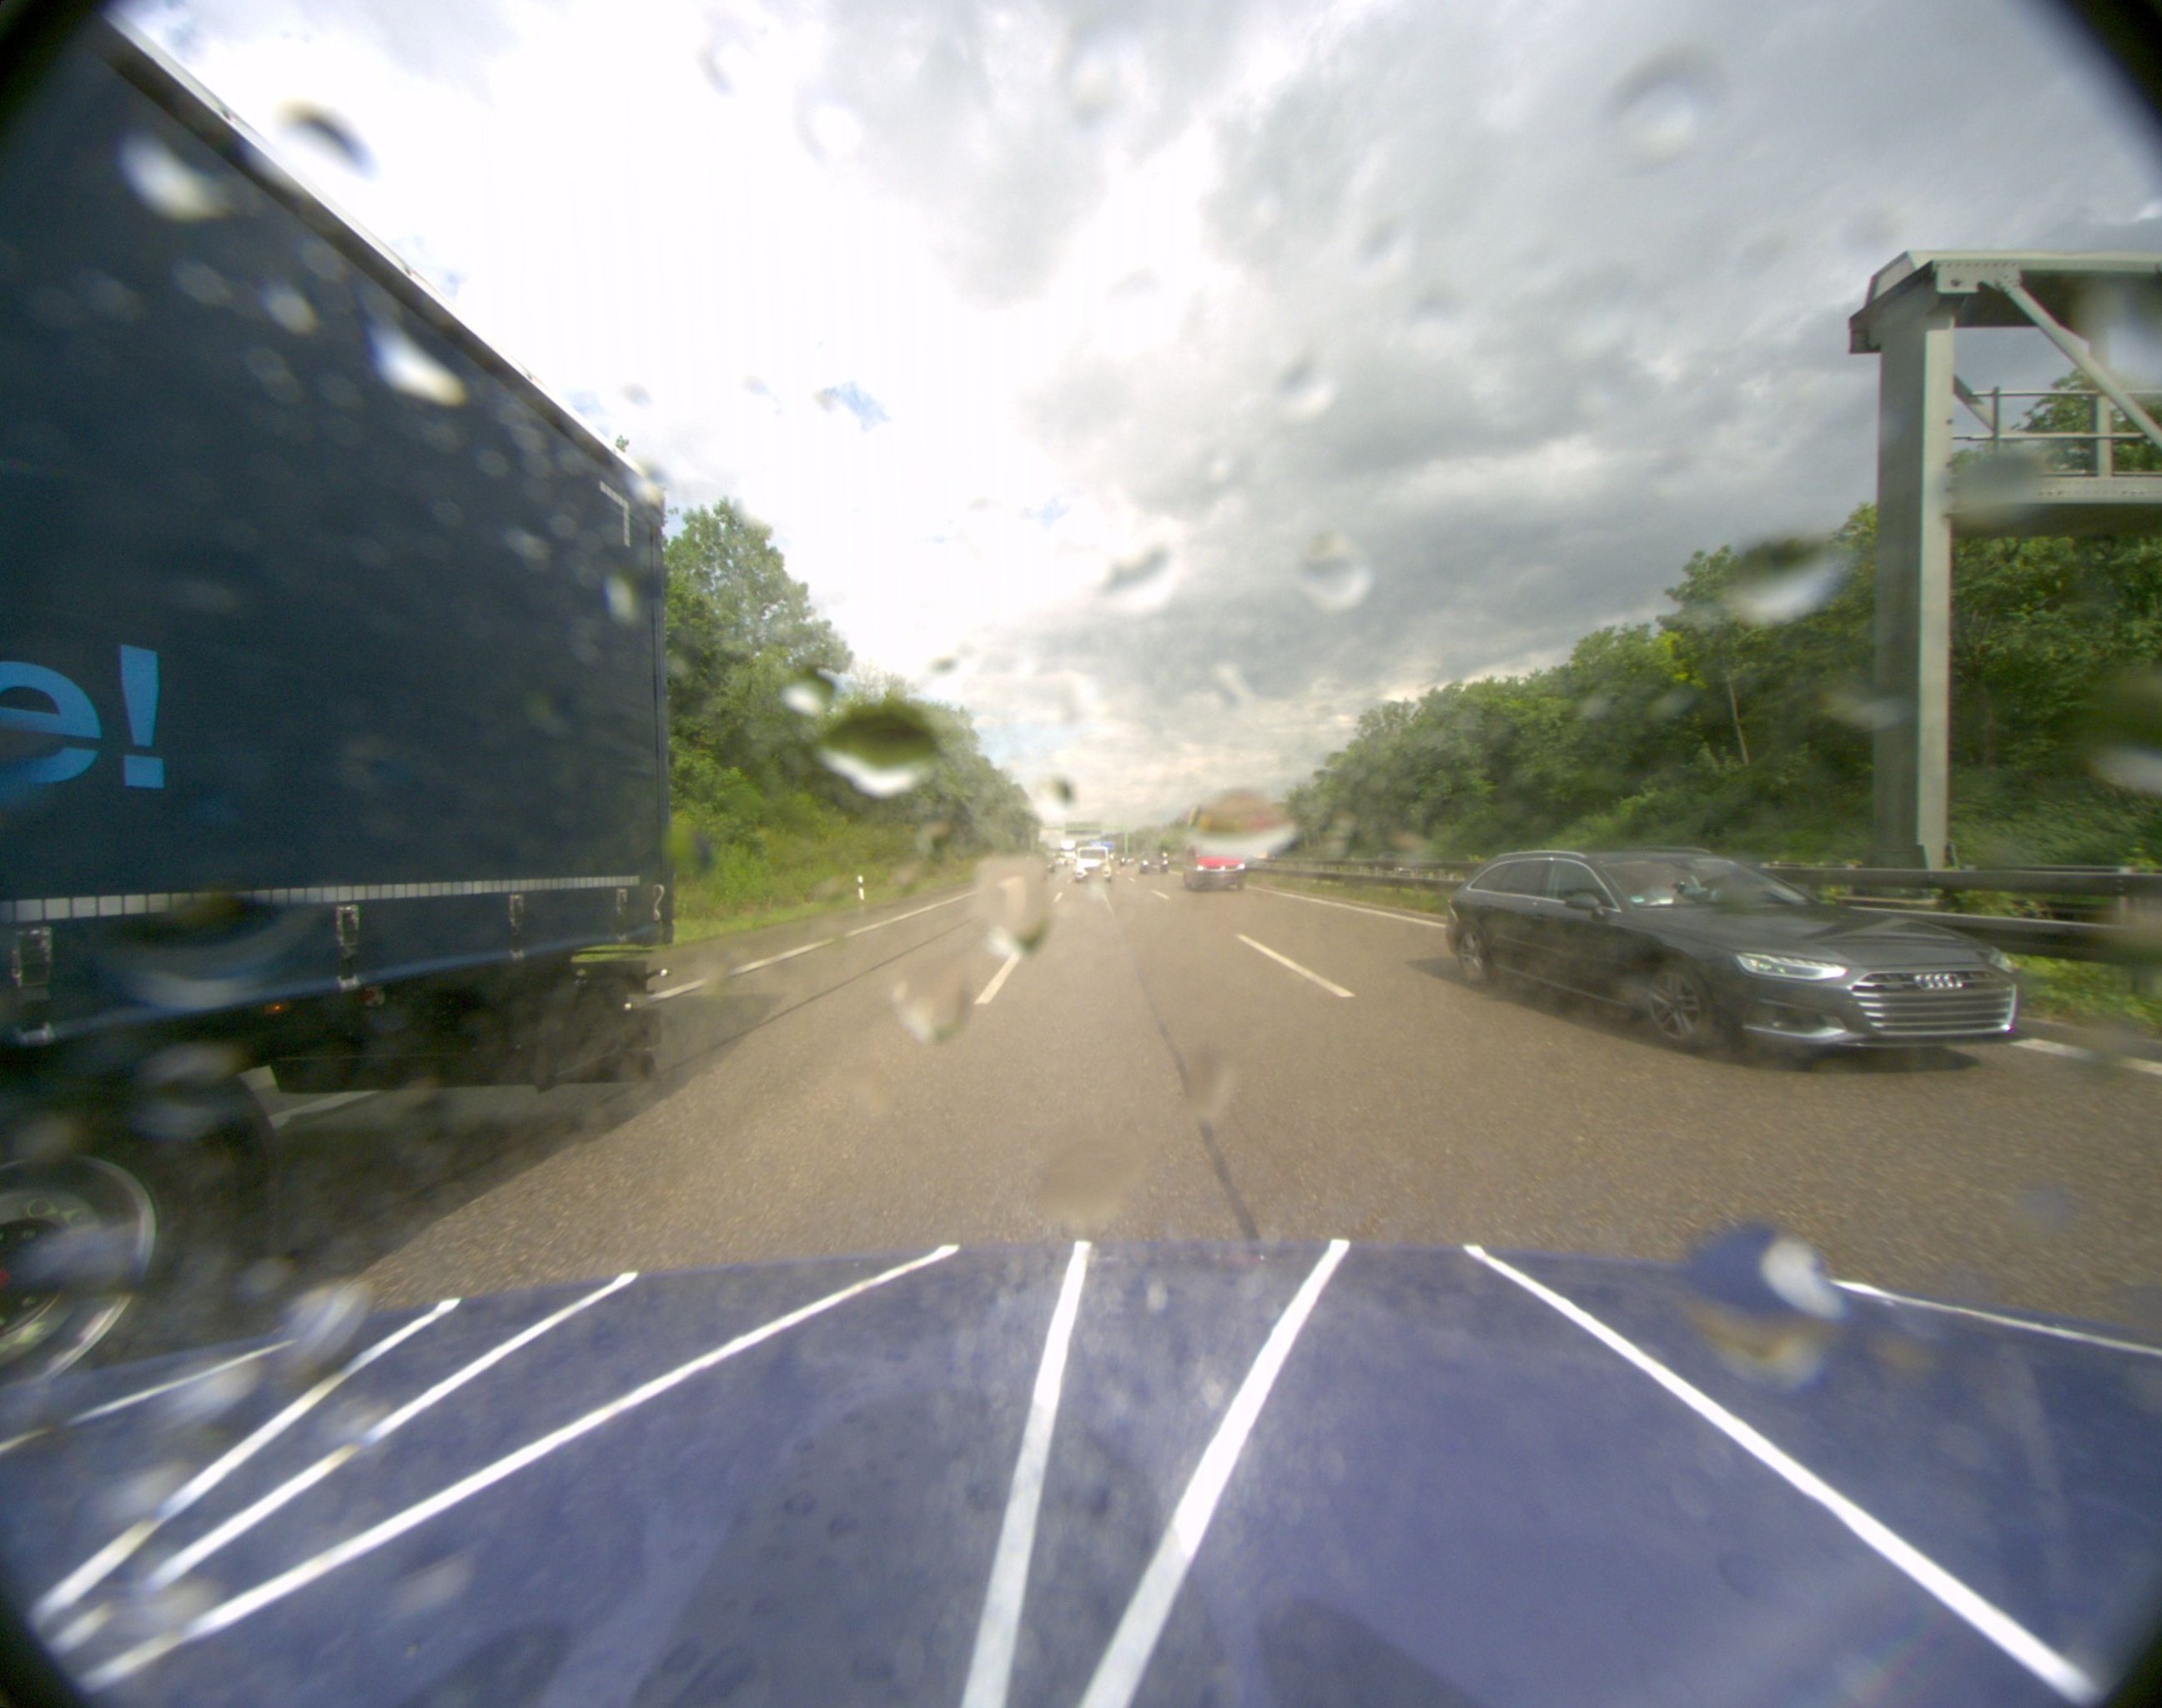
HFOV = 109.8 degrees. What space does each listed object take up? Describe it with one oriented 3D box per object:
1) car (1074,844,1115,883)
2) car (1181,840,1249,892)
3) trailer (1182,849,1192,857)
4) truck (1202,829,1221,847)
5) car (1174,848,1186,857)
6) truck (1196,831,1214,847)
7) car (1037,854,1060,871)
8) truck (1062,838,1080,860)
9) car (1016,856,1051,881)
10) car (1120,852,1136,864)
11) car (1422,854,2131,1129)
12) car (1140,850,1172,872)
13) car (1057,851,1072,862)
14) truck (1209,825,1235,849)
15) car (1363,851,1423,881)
[{"bbox_3d":[0.784,0.480,42.960,2.124,1.988,5.982,-2,1,1],"label":"car"},{"bbox_3d":[5.250,0.431,30.426,1.926,1.855,4.839,-2,1,1],"label":"car"},{"bbox_3d":[23.260,-0.238,166.990,1.589,1.653,3.878,-2,1,0],"label":"trailer"},{"bbox_3d":[36.058,-4.263,210.316,3.622,4.693,11.874,-2,1,2],"label":"truck"},{"bbox_3d":[20.149,-0.300,154.322,1.859,1.653,4.236,-2,1,0],"label":"car"},{"bbox_3d":[37.192,-4.495,228.360,3.622,4.693,11.874,-2,1,2],"label":"truck"},{"bbox_3d":[-3.079,0.789,72.078,1.798,1.410,4.839,-2,1,1],"label":"car"},{"bbox_3d":[-1.705,-0.906,139.123,3.064,3.827,8.799,-1,0,0],"label":"truck"},{"bbox_3d":[-3.025,0.934,49.650,1.798,1.410,4.839,-2,1,1],"label":"car"},{"bbox_3d":[5.986,0.443,96.600,1.798,1.410,4.839,-2,1,1],"label":"car"},{"bbox_3d":[4.913,0.763,6.600,1.798,1.410,4.839,-2,1,1],"label":"car"},{"bbox_3d":[5.660,0.498,58.048,2.009,1.488,4.839,-2,1,1],"label":"car"},{"bbox_3d":[-2.261,0.345,105.858,1.798,1.410,4.839,-2,1,1],"label":"car"},{"bbox_3d":[29.813,-3.519,161.597,3.622,4.693,11.874,-2,1,2],"label":"truck"},{"bbox_3d":[18.683,0.681,45.669,1.859,1.653,4.236,-2,1,0],"label":"car"}]
